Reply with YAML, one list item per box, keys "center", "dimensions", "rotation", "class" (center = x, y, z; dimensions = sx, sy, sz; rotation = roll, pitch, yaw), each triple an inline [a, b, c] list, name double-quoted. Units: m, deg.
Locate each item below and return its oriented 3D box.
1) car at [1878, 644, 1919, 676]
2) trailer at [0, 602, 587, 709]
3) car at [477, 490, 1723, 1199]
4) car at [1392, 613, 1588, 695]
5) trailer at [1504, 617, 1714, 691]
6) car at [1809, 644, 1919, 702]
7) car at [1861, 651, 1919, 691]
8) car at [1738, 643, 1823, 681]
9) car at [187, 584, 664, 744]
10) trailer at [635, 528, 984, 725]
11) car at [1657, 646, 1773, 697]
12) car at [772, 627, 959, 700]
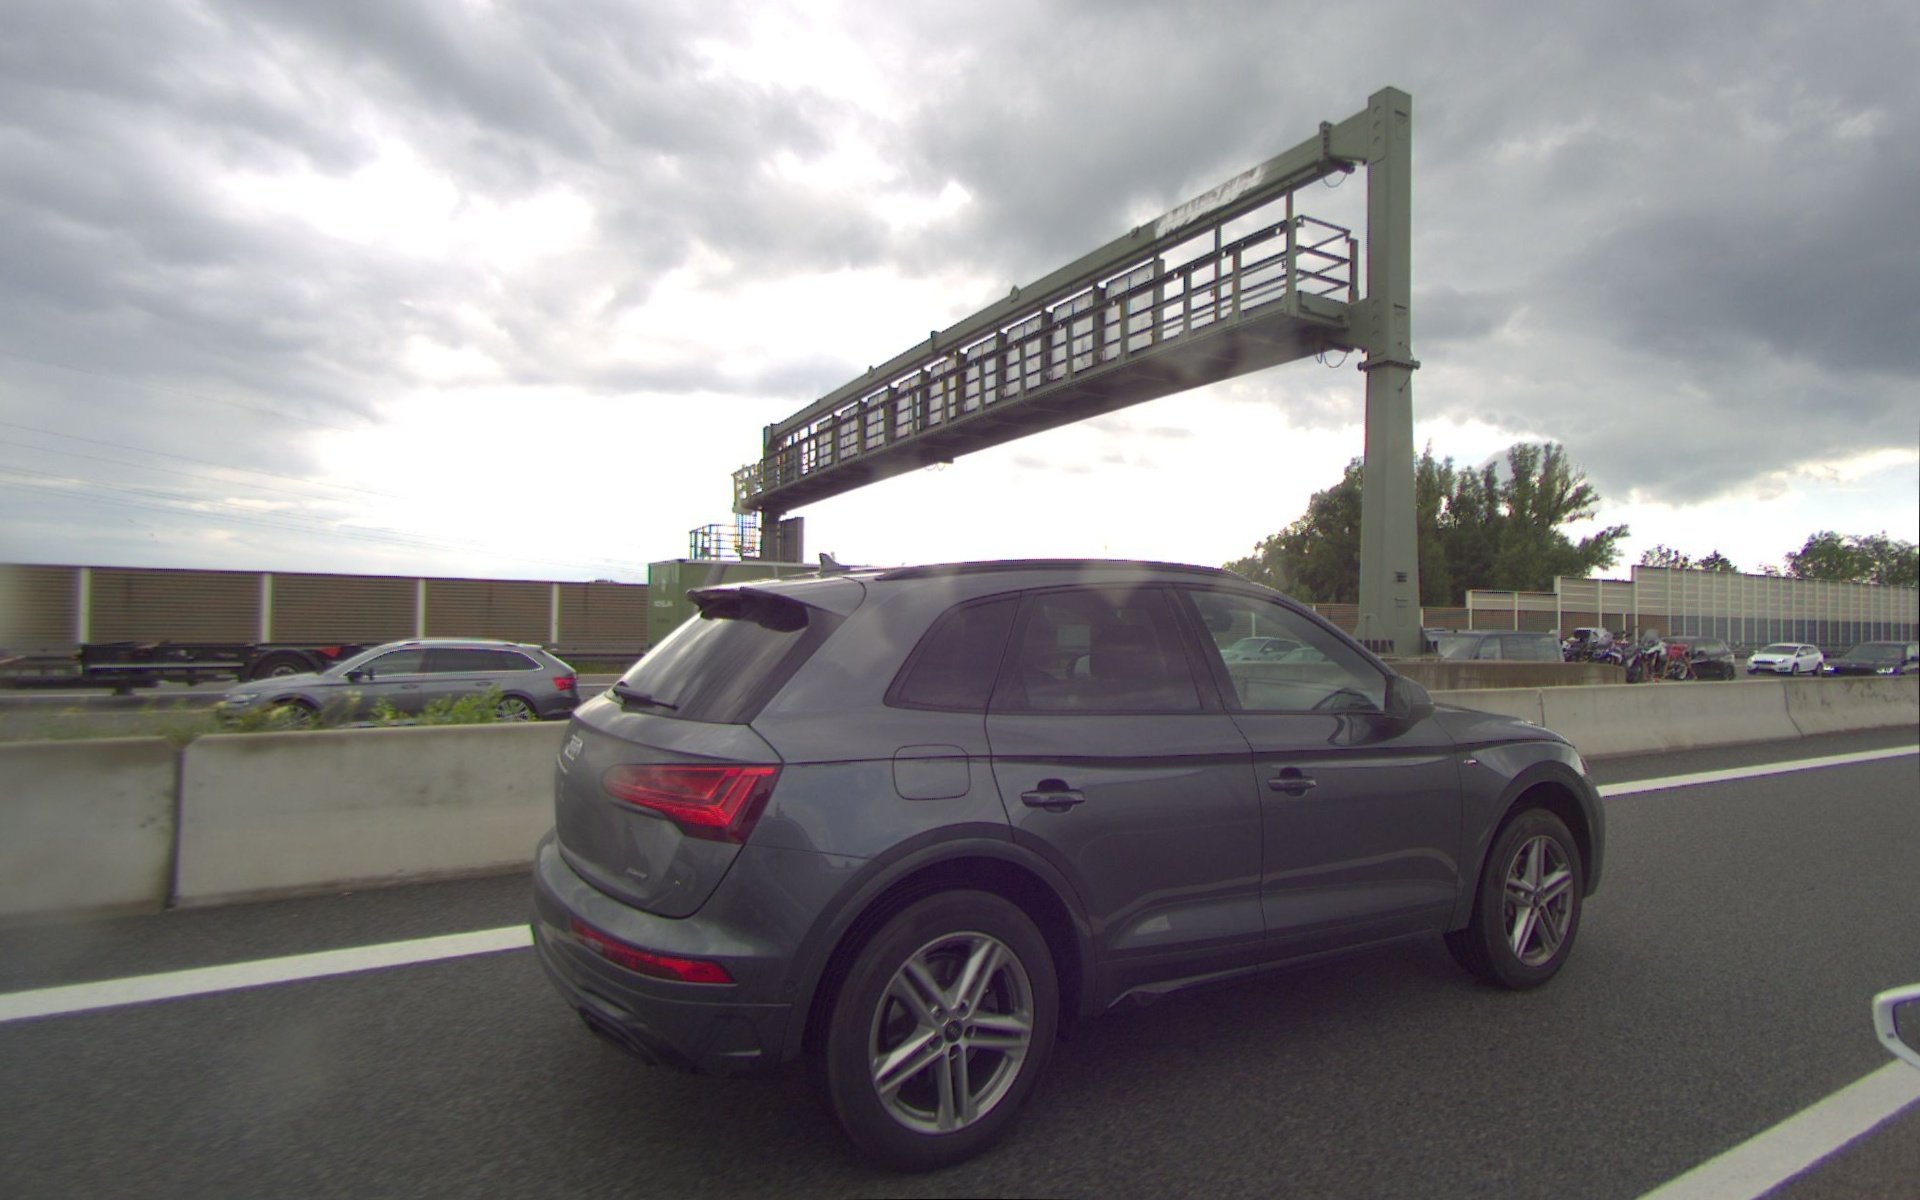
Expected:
- center: [52.675, 3.284, 55.516]
  dimensions: [4.593, 1.652, 1.738]
  rotation: [1, -1, -32]
  class: "car"
- center: [-15.947, 1.009, 19.424]
  dimensions: [16.156, 1.853, 2.740]
  rotation: [1, -1, -30]
  class: "trailer"
- center: [0.880, 0.683, 4.208]
  dimensions: [5.108, 1.713, 1.899]
  rotation: [1, -1, -30]
  class: "car"
- center: [12.366, 1.224, 23.351]
  dimensions: [4.750, 1.731, 1.808]
  rotation: [2, -1, -30]
  class: "car"
- center: [16.969, 1.368, 26.151]
  dimensions: [5.975, 1.731, 2.134]
  rotation: [2, -1, -30]
  class: "trailer"
- center: [30.735, 2.392, 33.621]
  dimensions: [5.046, 1.767, 1.873]
  rotation: [1, -1, -28]
  class: "car"
- center: [42.064, 3.129, 44.745]
  dimensions: [4.117, 1.652, 1.739]
  rotation: [1, -1, -30]
  class: "car"
- center: [38.290, 2.860, 46.853]
  dimensions: [4.342, 1.652, 1.738]
  rotation: [1, -1, -31]
  class: "car"
- center: [-8.021, 0.917, 15.729]
  dimensions: [6.120, 2.078, 2.438]
  rotation: [1, -1, -30]
  class: "car"
- center: [-2.740, 0.508, 18.796]
  dimensions: [5.979, 3.180, 2.438]
  rotation: [1, -1, -30]
  class: "trailer"
- center: [26.812, 2.494, 35.648]
  dimensions: [4.114, 1.652, 1.740]
  rotation: [1, -1, -28]
  class: "car"
- center: [-2.131, 1.399, 22.898]
  dimensions: [3.853, 1.515, 1.808]
  rotation: [2, -1, -30]
  class: "car"
